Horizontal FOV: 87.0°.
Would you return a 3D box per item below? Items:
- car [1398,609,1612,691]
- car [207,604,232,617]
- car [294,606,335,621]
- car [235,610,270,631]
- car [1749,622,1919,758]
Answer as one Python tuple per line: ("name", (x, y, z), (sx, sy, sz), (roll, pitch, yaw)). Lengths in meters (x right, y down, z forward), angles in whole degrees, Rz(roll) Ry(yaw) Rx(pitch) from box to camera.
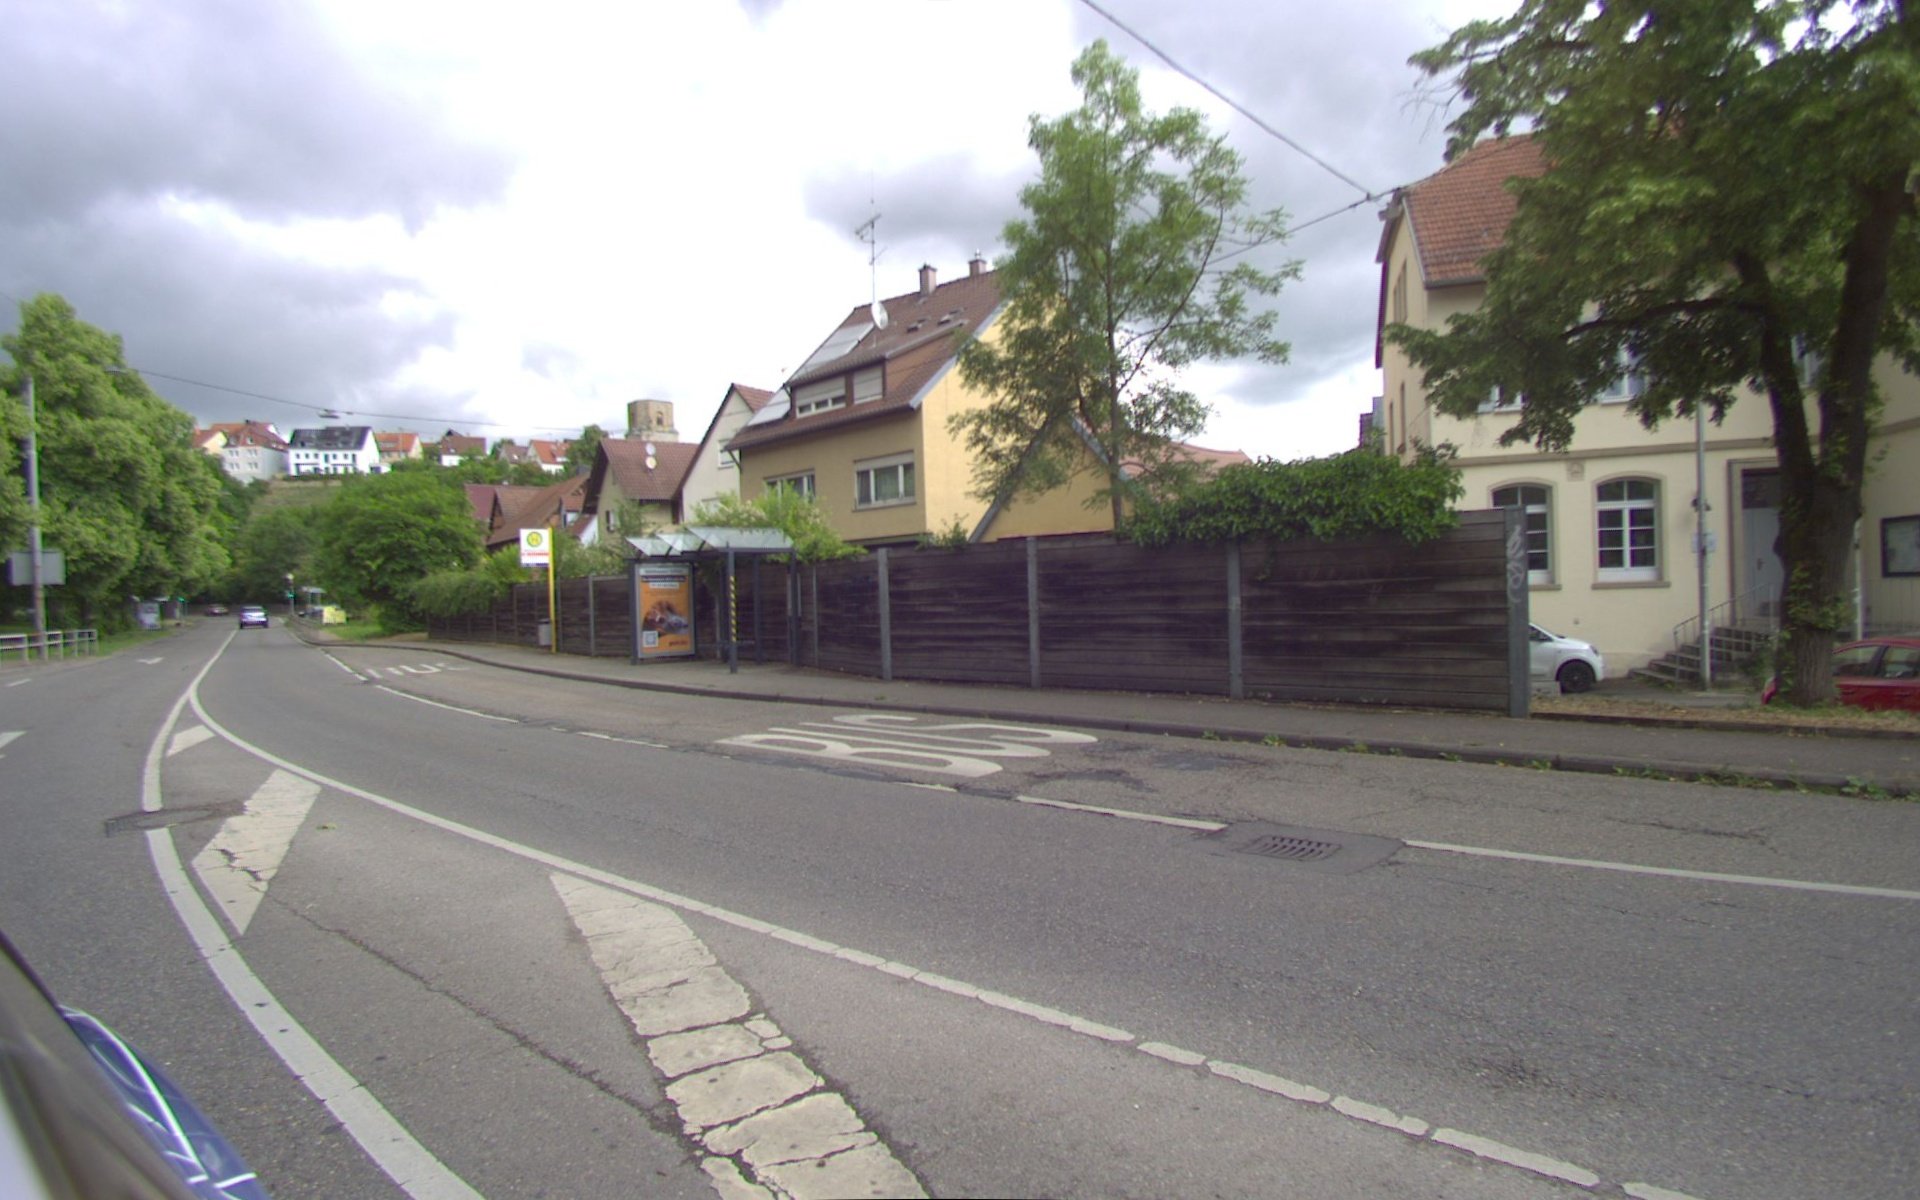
("car", (10.601, 0.954, 19.942), (3.407, 1.490, 1.602), (-1, 0, 17))
("car", (-97.361, 1.391, 133.069), (4.001, 1.586, 1.971), (-1, 0, 44))
("car", (-70.038, 1.476, 109.833), (3.620, 1.596, 1.770), (-1, 0, -29))
("car", (-56.520, 1.614, 80.823), (1.968, 1.630, 4.007), (-1, 0, -39))
("car", (11.489, 1.024, 11.978), (1.642, 1.393, 3.713), (-1, 0, 6))
